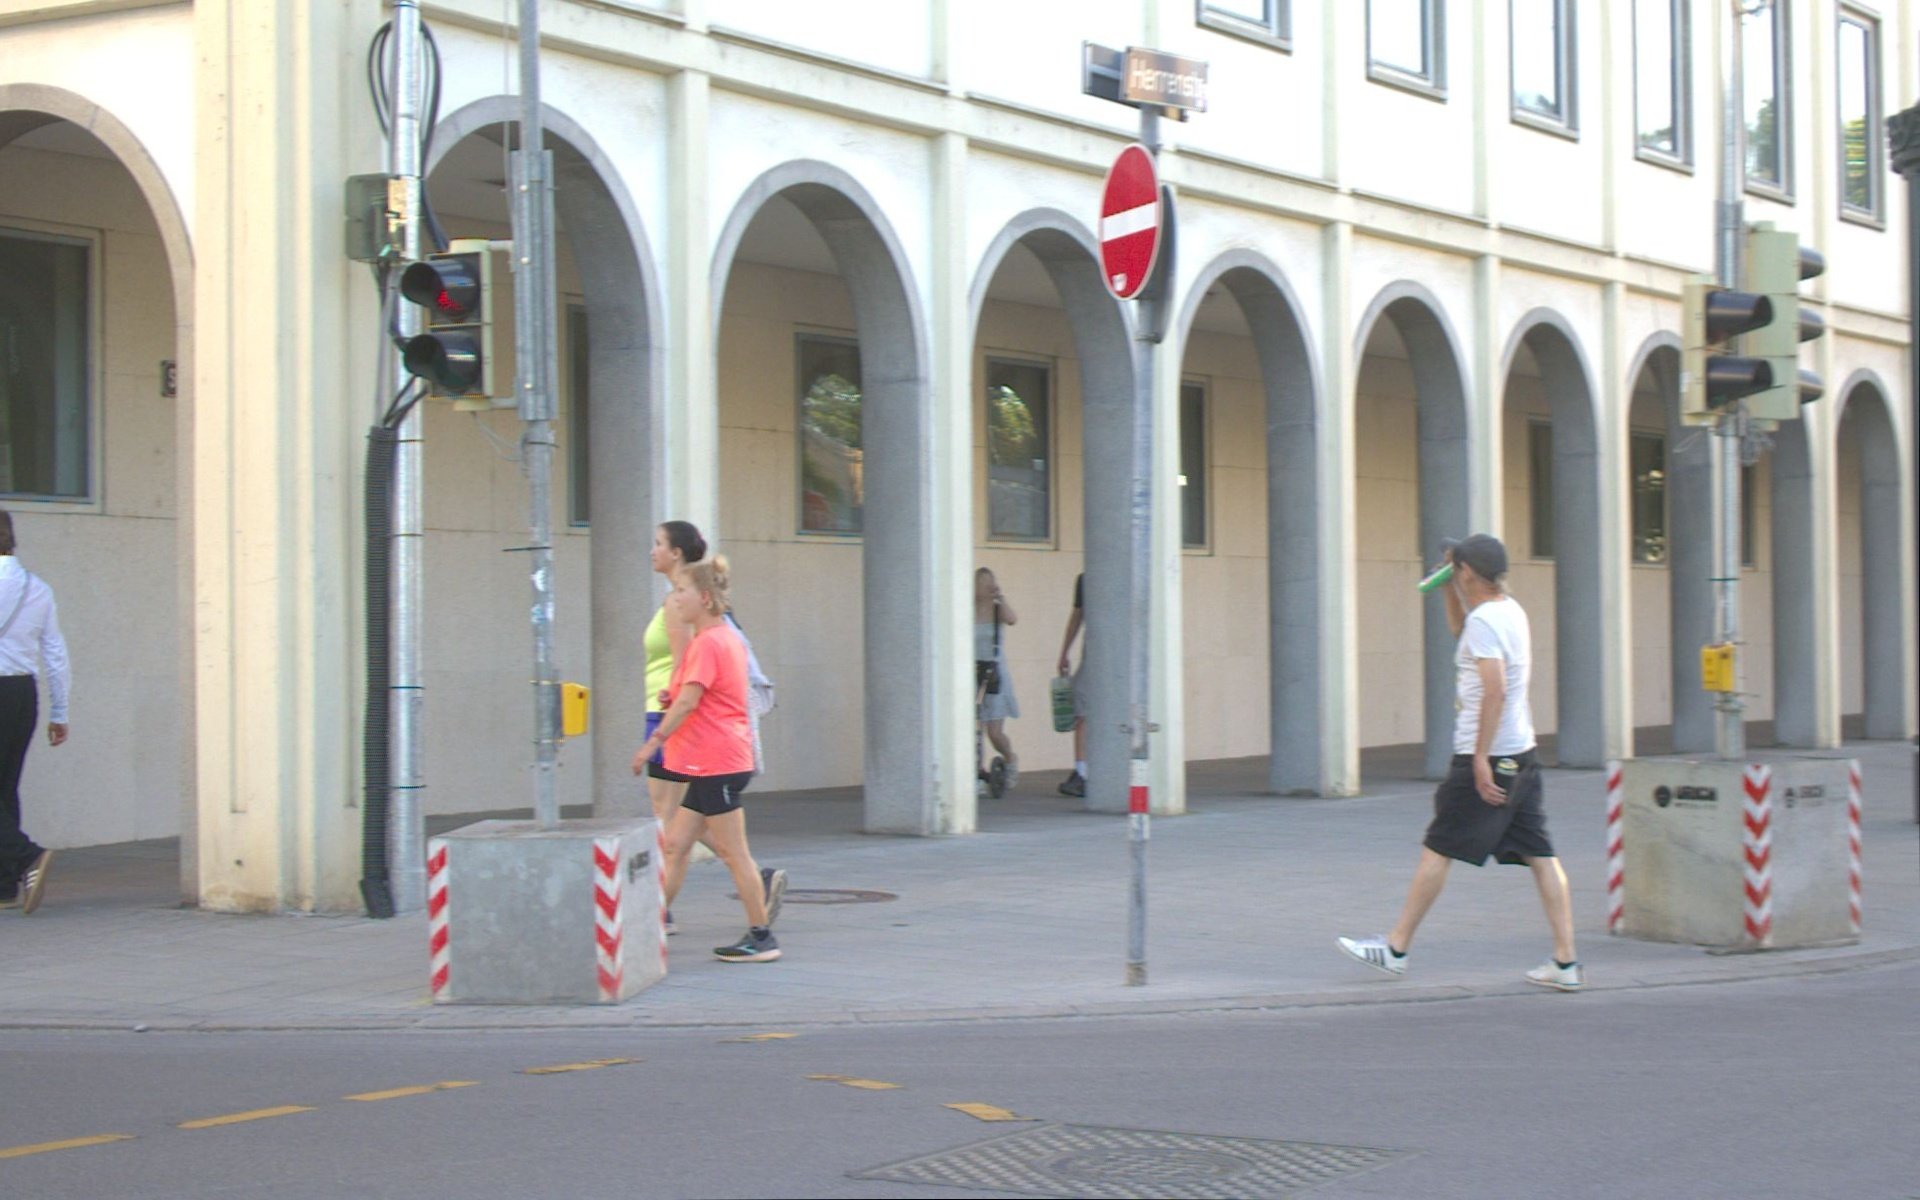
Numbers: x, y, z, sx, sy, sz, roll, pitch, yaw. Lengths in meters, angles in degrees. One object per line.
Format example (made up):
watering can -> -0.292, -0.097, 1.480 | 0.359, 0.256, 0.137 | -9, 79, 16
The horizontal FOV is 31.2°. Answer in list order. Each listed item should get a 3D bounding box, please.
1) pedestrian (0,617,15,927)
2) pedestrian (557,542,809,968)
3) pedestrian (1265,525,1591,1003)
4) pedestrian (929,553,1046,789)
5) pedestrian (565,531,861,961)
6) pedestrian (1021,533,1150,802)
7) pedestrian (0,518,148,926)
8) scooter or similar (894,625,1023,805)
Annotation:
pedestrian -> -4.755, 0.560, 14.954 | 0.940, 1.771, 0.710 | -1, 2, 31
pedestrian -> -1.095, 0.593, 13.650 | 0.726, 1.618, 0.619 | 0, 3, 31
pedestrian -> 1.771, 0.587, 12.968 | 0.976, 1.722, 0.797 | 0, 0, 31
pedestrian -> 0.199, 0.497, 24.338 | 0.618, 1.618, 0.726 | -1, 3, 16
pedestrian -> -1.025, 0.581, 14.322 | 0.966, 1.704, 0.674 | 0, 3, 31
pedestrian -> 0.888, 0.463, 24.216 | 0.641, 1.834, 0.726 | -1, 3, 24
pedestrian -> -4.333, 0.536, 15.642 | 0.940, 1.771, 0.710 | -1, 2, 31
scooter or similar -> -0.003, 0.776, 23.531 | 0.618, 1.154, 0.957 | -1, 3, 16
